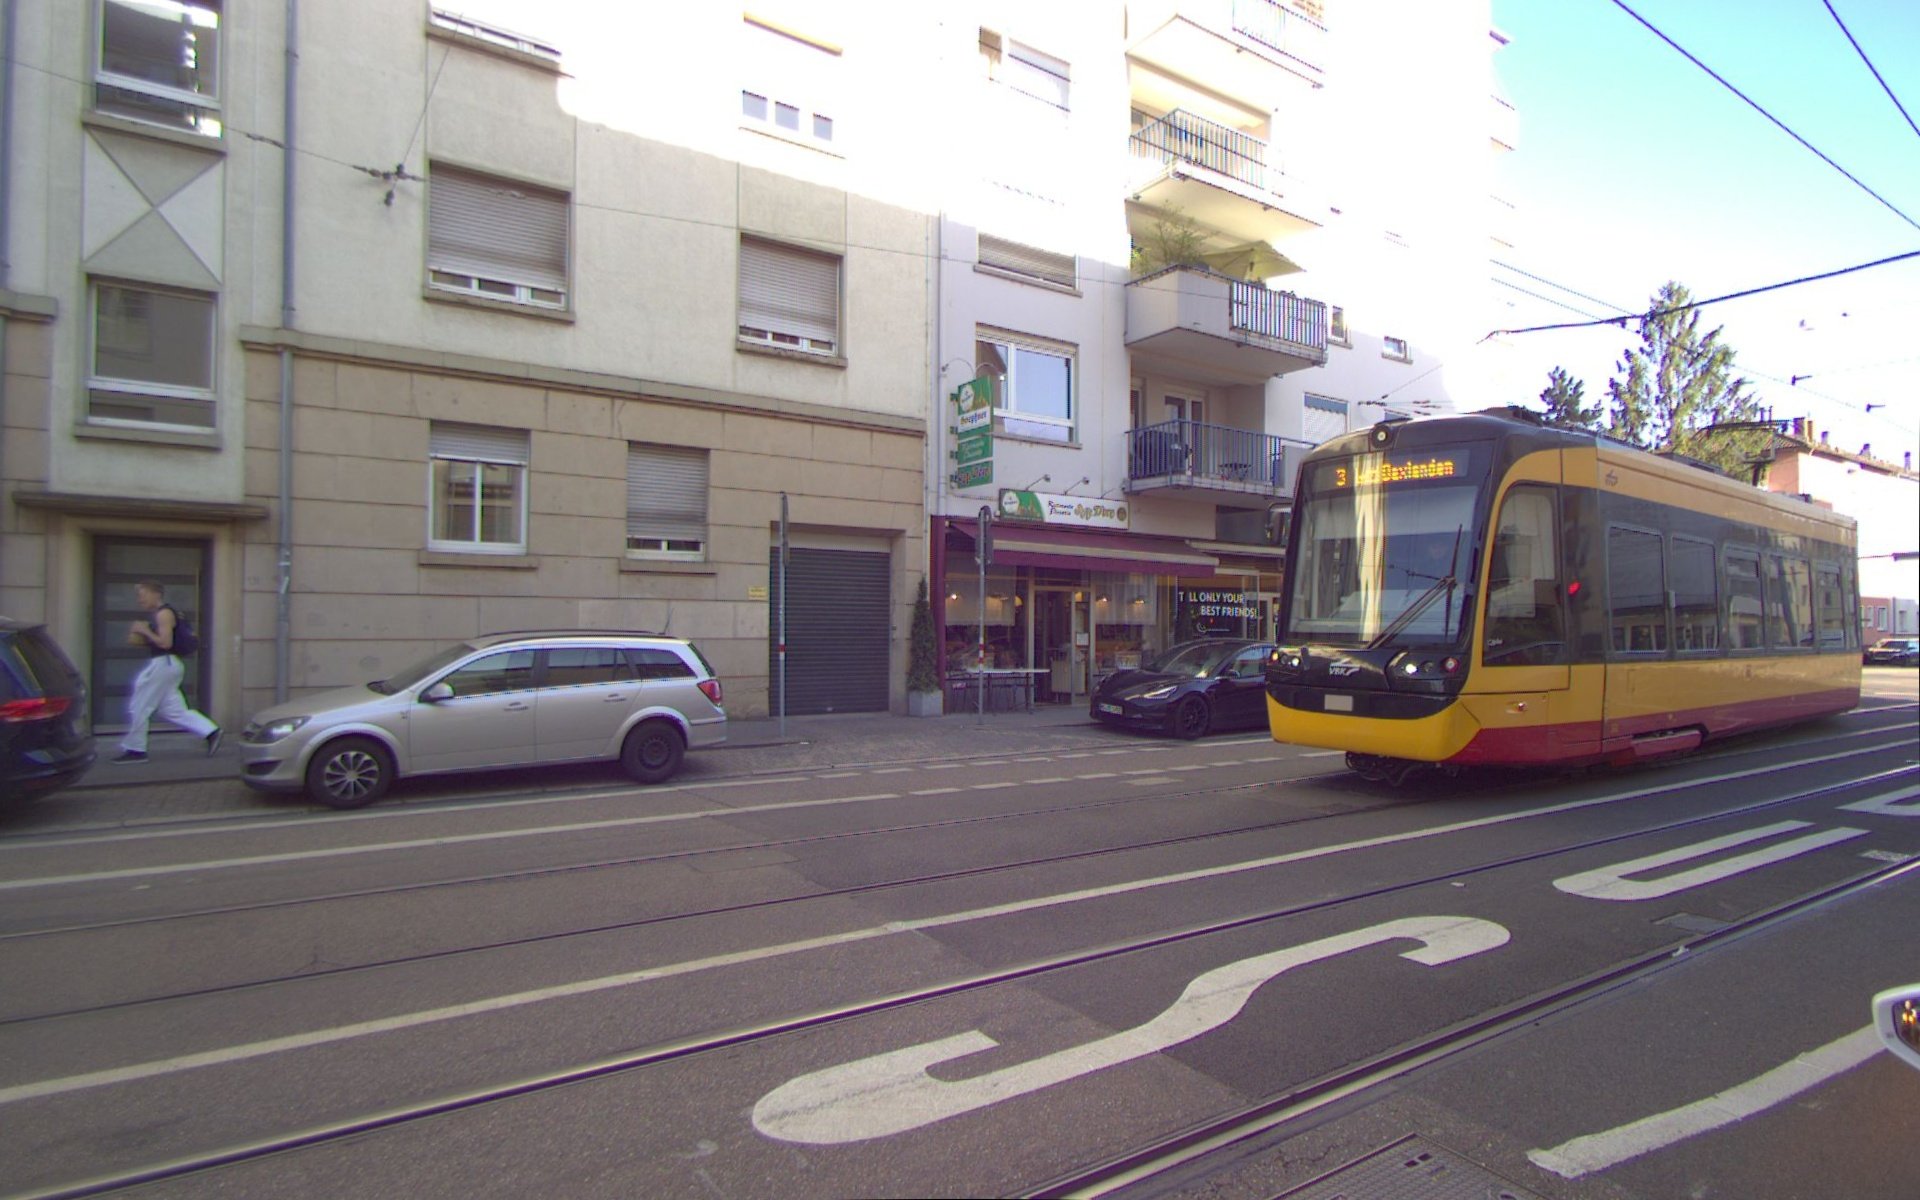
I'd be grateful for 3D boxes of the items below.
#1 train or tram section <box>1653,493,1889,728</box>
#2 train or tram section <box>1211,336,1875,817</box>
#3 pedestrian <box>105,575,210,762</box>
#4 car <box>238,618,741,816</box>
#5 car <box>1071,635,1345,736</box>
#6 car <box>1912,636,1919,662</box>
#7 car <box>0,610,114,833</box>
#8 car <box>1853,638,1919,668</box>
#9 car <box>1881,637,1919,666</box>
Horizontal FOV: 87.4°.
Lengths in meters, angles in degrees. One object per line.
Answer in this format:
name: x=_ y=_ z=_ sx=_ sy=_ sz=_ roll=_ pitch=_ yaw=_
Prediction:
train or tram section: x=16.361 y=0.239 z=19.937 sx=2.796 sy=3.679 sz=9.029 roll=2 pitch=0 yaw=44
train or tram section: x=8.288 y=-0.019 z=12.734 sx=12.522 sy=3.641 sz=3.038 roll=2 pitch=-2 yaw=-39
pedestrian: x=-8.305 y=0.688 z=10.419 sx=0.725 sy=1.857 sz=0.595 roll=2 pitch=0 yaw=-30
car: x=-4.687 y=1.037 z=10.331 sx=4.319 sy=1.580 sz=1.981 roll=2 pitch=0 yaw=-34
car: x=4.033 y=1.273 z=16.086 sx=4.382 sy=1.405 sz=1.810 roll=1 pitch=-2 yaw=-34
car: x=58.192 y=2.953 z=59.368 sx=4.103 sy=1.531 sz=1.778 roll=2 pitch=0 yaw=-31
car: x=-9.015 y=0.864 z=7.233 sx=4.249 sy=1.606 sz=1.893 roll=2 pitch=0 yaw=-35
car: x=49.615 y=2.824 z=53.606 sx=3.949 sy=1.440 sz=1.784 roll=2 pitch=0 yaw=-31
car: x=53.903 y=2.898 z=56.592 sx=4.250 sy=1.518 sz=1.806 roll=2 pitch=0 yaw=-30
